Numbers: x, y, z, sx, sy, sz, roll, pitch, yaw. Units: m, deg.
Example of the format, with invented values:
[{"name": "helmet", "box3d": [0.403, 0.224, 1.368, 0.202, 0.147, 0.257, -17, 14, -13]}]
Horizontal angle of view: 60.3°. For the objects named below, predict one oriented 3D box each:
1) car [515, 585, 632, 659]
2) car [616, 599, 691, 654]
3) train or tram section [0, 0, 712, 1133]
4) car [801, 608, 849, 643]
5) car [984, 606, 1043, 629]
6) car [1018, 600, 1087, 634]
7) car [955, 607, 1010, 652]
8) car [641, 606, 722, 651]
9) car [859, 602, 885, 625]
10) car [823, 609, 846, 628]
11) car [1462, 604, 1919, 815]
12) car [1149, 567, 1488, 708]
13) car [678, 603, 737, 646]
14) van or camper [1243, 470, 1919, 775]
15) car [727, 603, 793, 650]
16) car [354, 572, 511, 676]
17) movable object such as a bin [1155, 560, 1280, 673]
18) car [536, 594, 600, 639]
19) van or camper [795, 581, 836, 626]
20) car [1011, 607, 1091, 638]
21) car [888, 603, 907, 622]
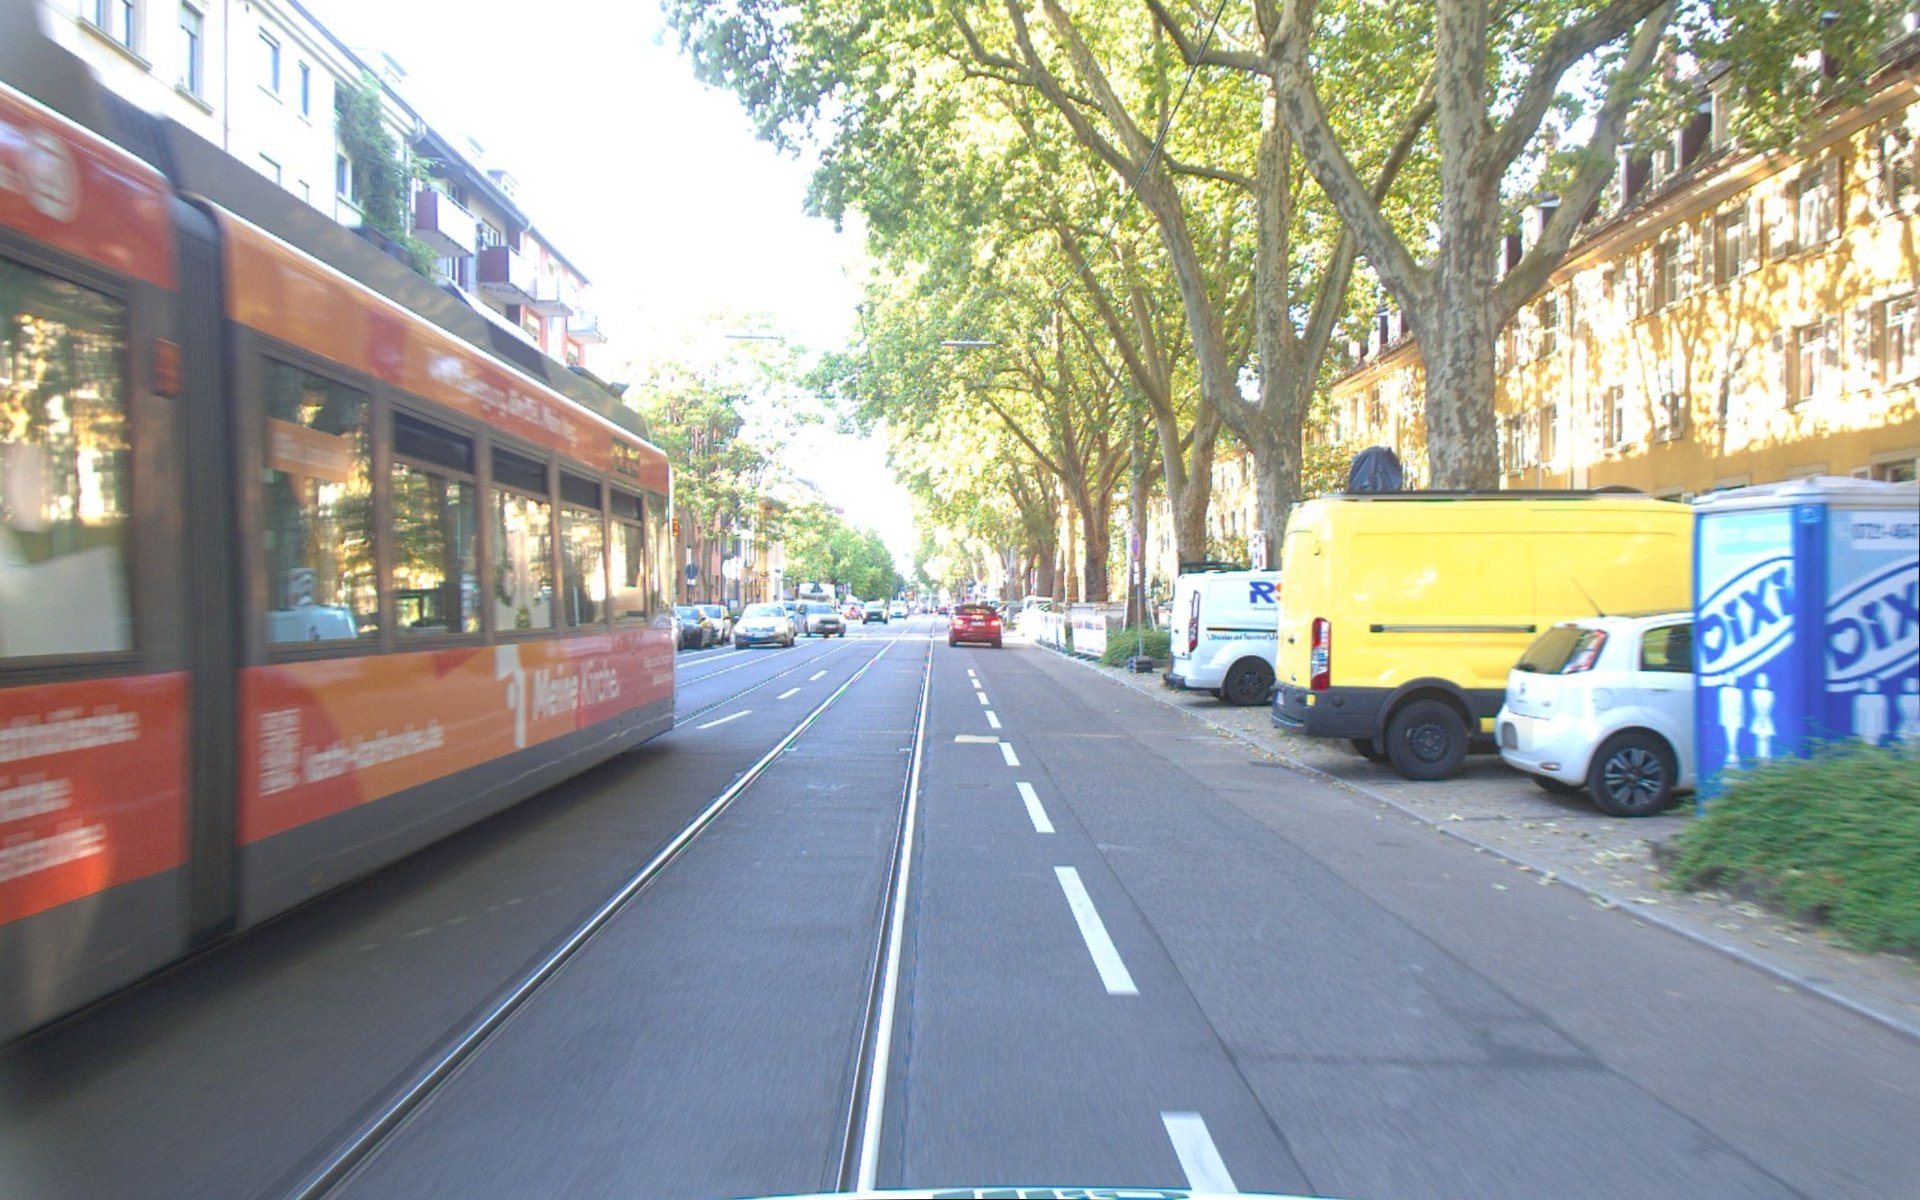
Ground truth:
[{"name": "car", "box3d": [-9.708, 0.556, 41.921, 1.913, 1.677, 4.879, 2, -1, -2]}, {"name": "car", "box3d": [-9.738, 0.826, 52.745, 1.783, 1.614, 4.003, 2, 0, -3]}, {"name": "train or tram section", "box3d": [-3.990, -0.372, 10.596, 2.849, 3.547, 14.194, 0, 0, -1]}, {"name": "car", "box3d": [-5.780, 1.074, 71.419, 1.759, 1.471, 4.052, -1, 0, -1]}, {"name": "car", "box3d": [4.092, 1.359, 125.502, 4.402, 1.630, 2.028, -1, -1, 3]}, {"name": "car", "box3d": [5.081, 0.939, 90.763, 3.764, 1.803, 1.917, 1, -1, 3]}, {"name": "car", "box3d": [0.713, 0.978, 55.997, 1.756, 1.413, 4.236, 2, 0, 0]}, {"name": "car", "box3d": [-9.672, 0.968, 57.770, 1.912, 1.419, 4.862, 3, 0, 0]}, {"name": "car", "box3d": [-6.565, 1.042, 123.908, 1.816, 1.628, 4.462, 2, 0, -2]}, {"name": "car", "box3d": [-11.147, 1.624, 146.956, 1.800, 1.494, 5.066, 4, 0, -3]}, {"name": "car", "box3d": [6.102, 0.795, 12.902, 3.825, 1.515, 1.863, 0, 0, 1]}, {"name": "car", "box3d": [5.379, 0.553, 25.302, 4.736, 2.048, 2.063, 0, 0, -1]}, {"name": "car", "box3d": [-9.605, 0.913, 63.185, 1.690, 1.509, 3.928, 3, -1, -2]}, {"name": "van or camper", "box3d": [5.773, 0.221, 15.727, 5.803, 2.675, 2.270, 0, -1, 1]}, {"name": "car", "box3d": [-6.730, 0.874, 56.006, 1.759, 1.471, 4.715, 2, 0, -2]}, {"name": "car", "box3d": [-9.819, 0.423, 31.143, 1.753, 1.802, 4.467, 1, 0, -4]}, {"name": "movable object such as a bin", "box3d": [5.562, 0.347, 35.474, 1.455, 2.309, 3.268, 0, 0, 32]}, {"name": "car", "box3d": [-19.717, 0.846, 83.092, 1.971, 2.161, 4.678, 2, -1, -29]}, {"name": "van or camper", "box3d": [-10.790, 0.295, 123.768, 2.290, 3.094, 6.396, 4, -1, 0]}, {"name": "car", "box3d": [4.727, 1.168, 86.472, 4.005, 1.548, 1.915, 1, -1, -2]}, {"name": "car", "box3d": [-6.446, 1.280, 170.161, 1.853, 1.864, 4.894, 0, -1, -1]}]
